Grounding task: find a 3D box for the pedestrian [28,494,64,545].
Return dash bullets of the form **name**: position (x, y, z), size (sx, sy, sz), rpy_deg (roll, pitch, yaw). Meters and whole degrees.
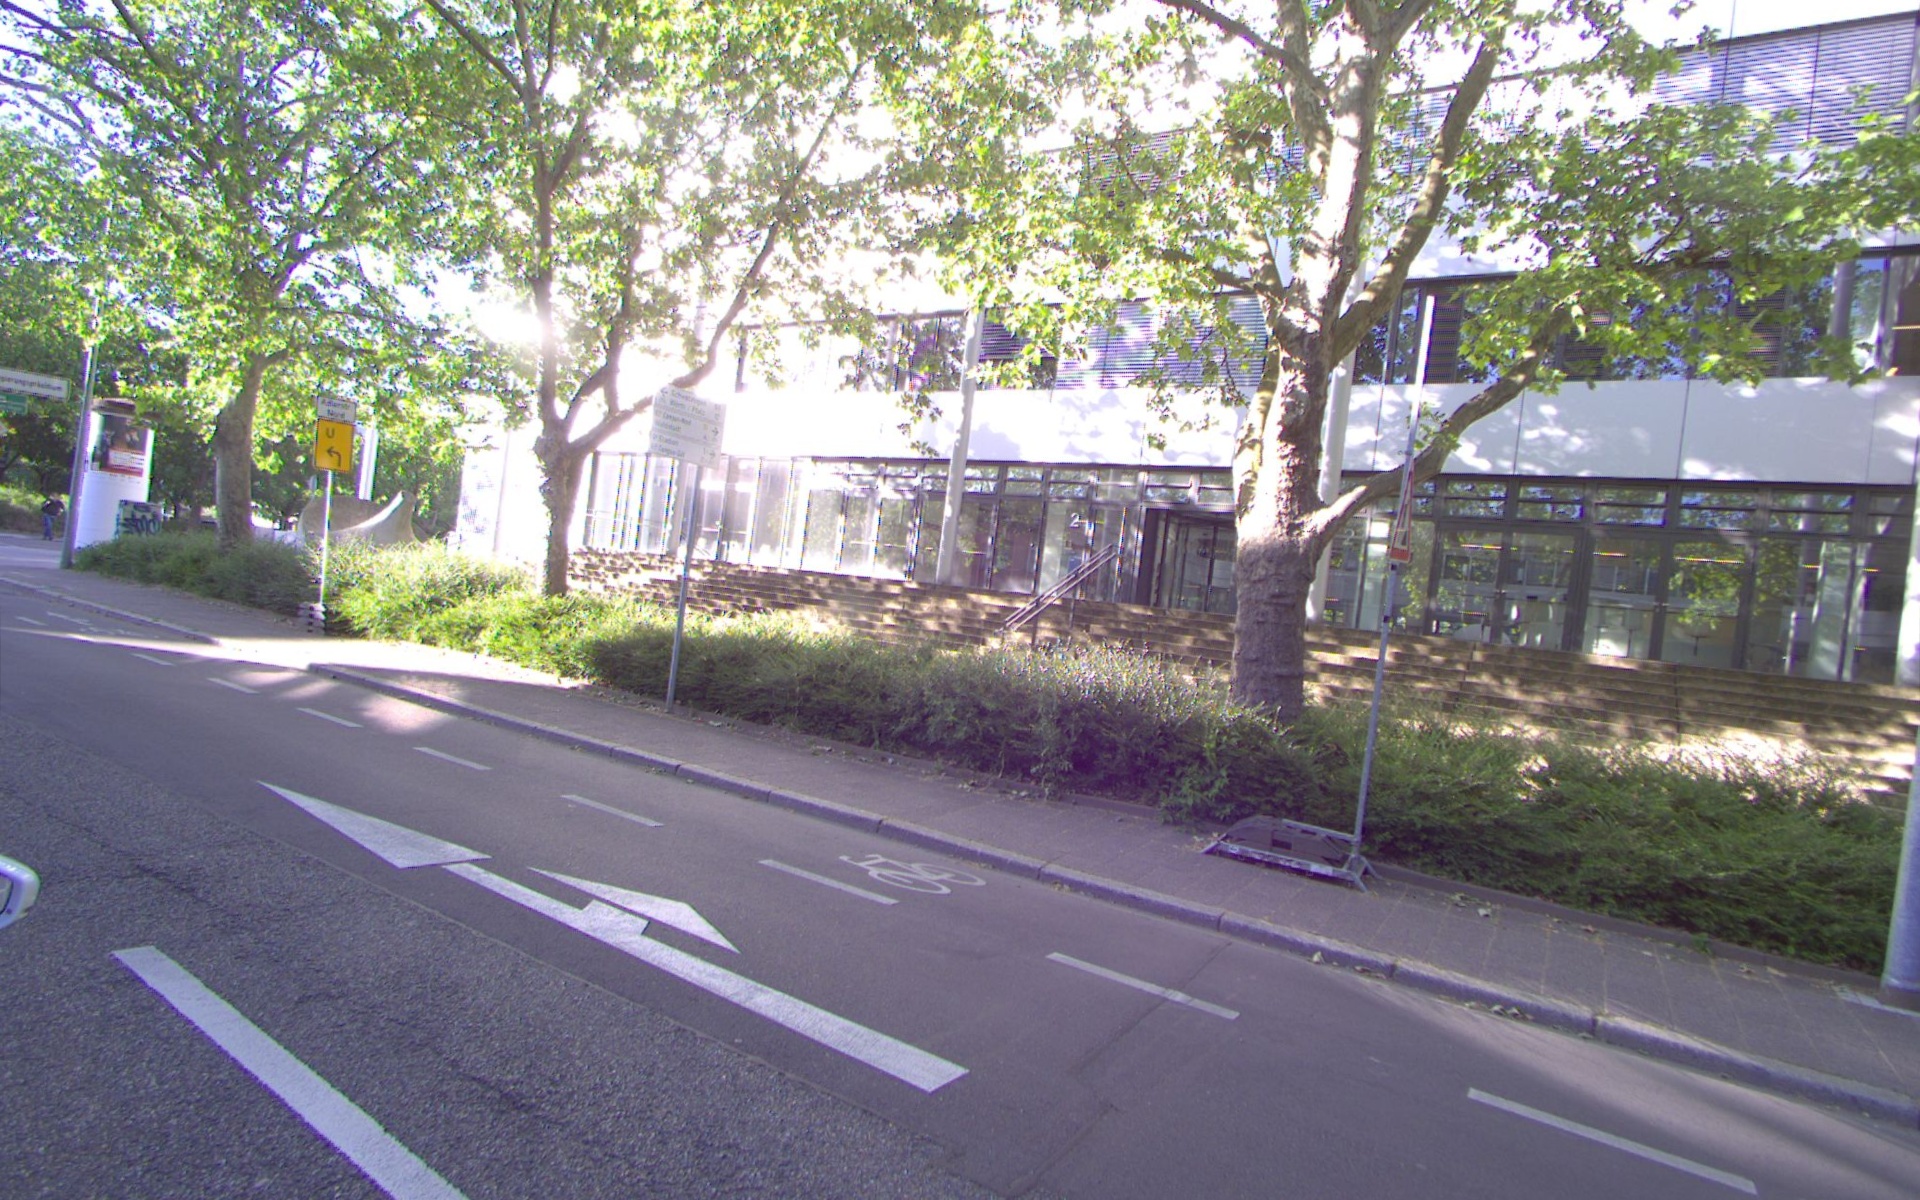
- **pedestrian**: position (-34.647, -3.063, 38.140), size (0.718, 1.799, 0.736), rpy_deg (6, -1, 36)
